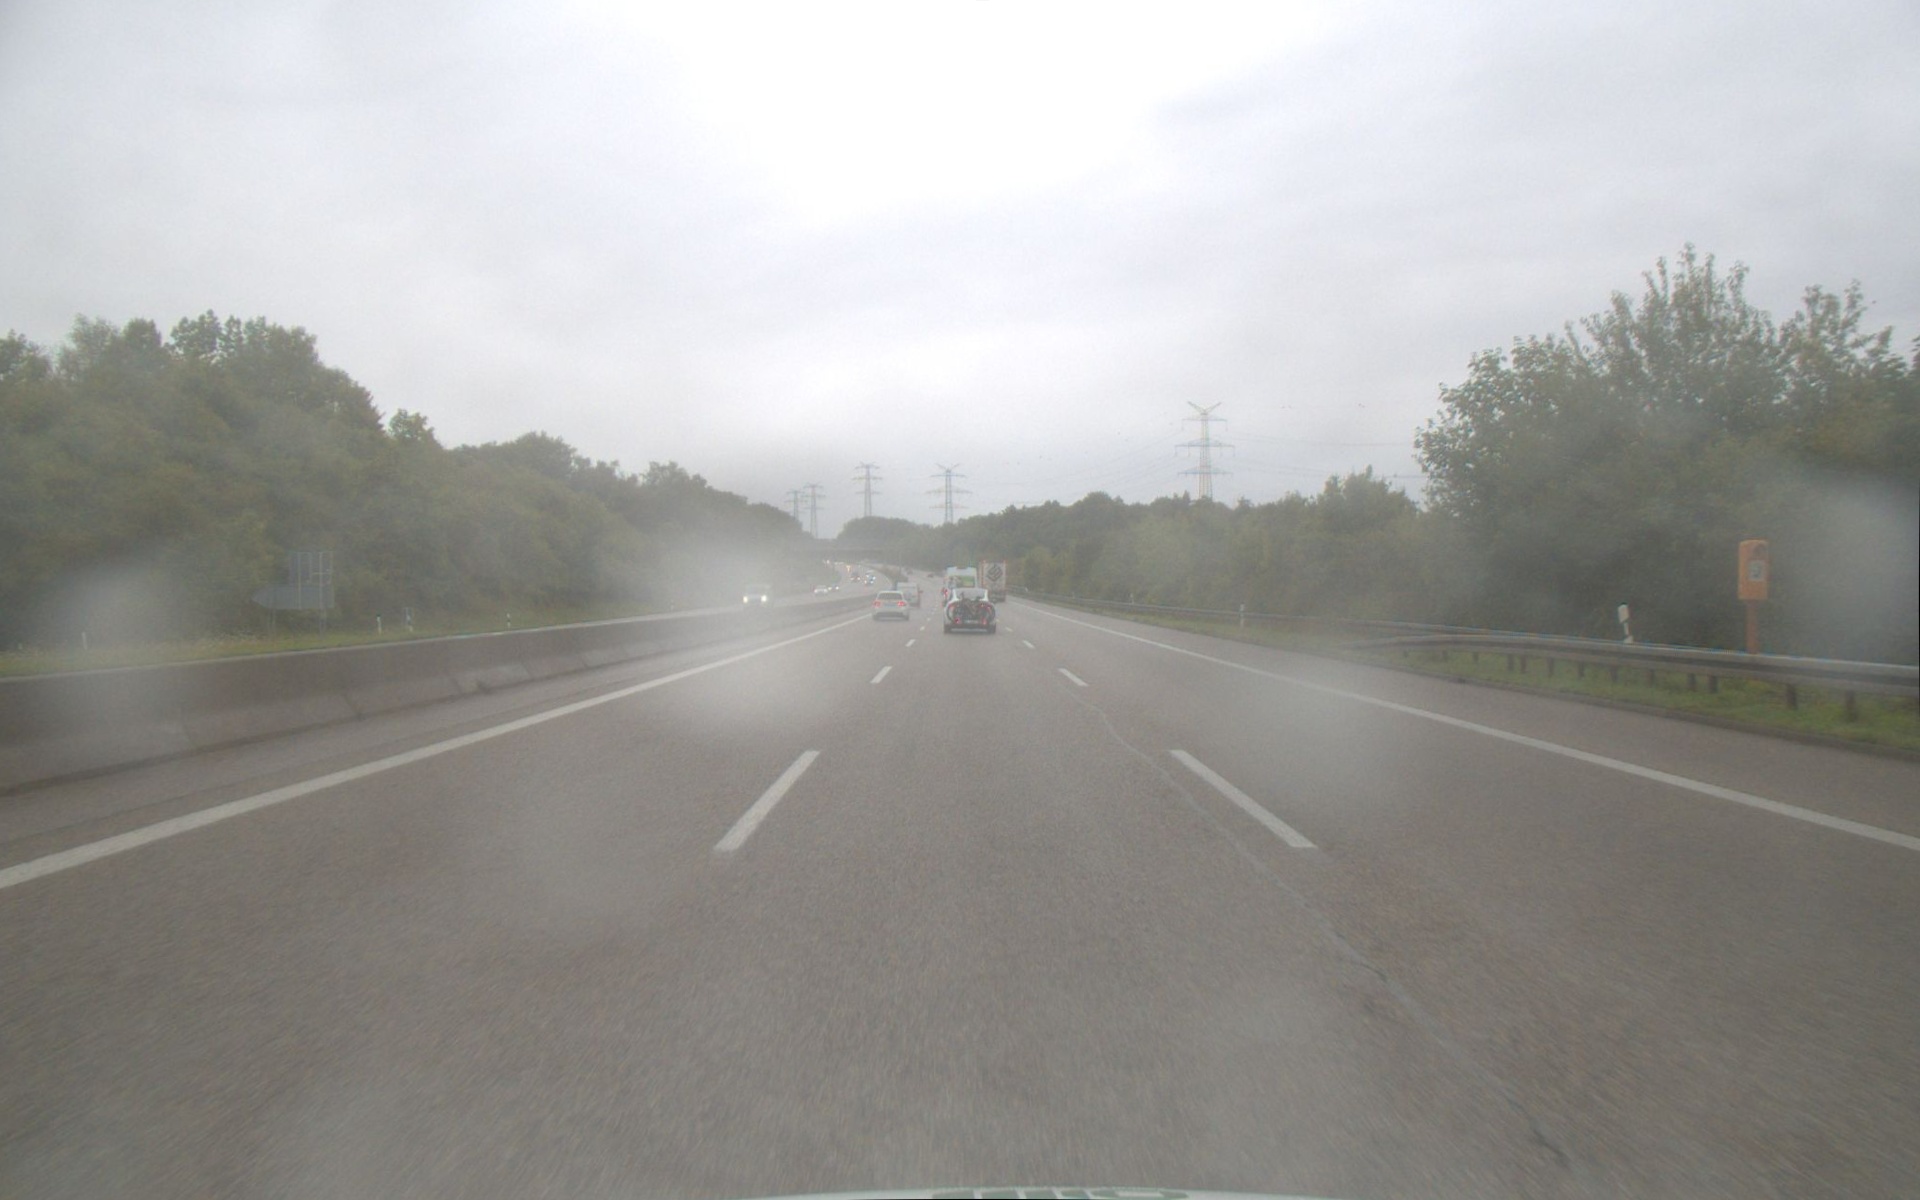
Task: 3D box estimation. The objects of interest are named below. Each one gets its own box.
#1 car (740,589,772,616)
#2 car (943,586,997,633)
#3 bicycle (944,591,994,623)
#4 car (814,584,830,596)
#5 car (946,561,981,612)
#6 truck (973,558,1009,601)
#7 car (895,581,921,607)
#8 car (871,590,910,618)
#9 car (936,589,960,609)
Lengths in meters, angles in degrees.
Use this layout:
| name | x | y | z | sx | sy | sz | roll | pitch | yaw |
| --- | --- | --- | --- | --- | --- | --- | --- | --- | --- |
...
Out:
| name | x | y | z | sx | sy | sz | roll | pitch | yaw |
| --- | --- | --- | --- | --- | --- | --- | --- | --- | --- |
| car | -15.555 | 0.180 | 126.237 | 1.953 | 2.049 | 5.759 | -1 | 0 | -2 |
| car | 0.327 | 0.316 | 60.794 | 1.822 | 1.595 | 4.963 | 1 | 1 | -1 |
| bicycle | 0.320 | 0.233 | 57.824 | 1.717 | 1.109 | 0.913 | 0 | 0 | -1 |
| car | -20.939 | -1.522 | 250.545 | 1.952 | 1.646 | 4.001 | 1 | 0 | 2 |
| car | 0.210 | -0.787 | 98.762 | 1.953 | 2.914 | 4.000 | 1 | 0 | 0 |
| truck | 3.199 | -2.173 | 175.047 | 3.529 | 4.407 | 13.200 | 0 | 1 | 0 |
| car | -3.737 | -0.403 | 118.790 | 1.809 | 1.803 | 3.999 | -1 | 0 | -2 |
| car | -3.384 | 0.174 | 81.118 | 1.829 | 1.310 | 3.999 | -1 | 0 | -2 |
| car | -0.959 | -0.096 | 130.270 | 1.819 | 1.447 | 4.000 | 0 | 1 | -1 |
